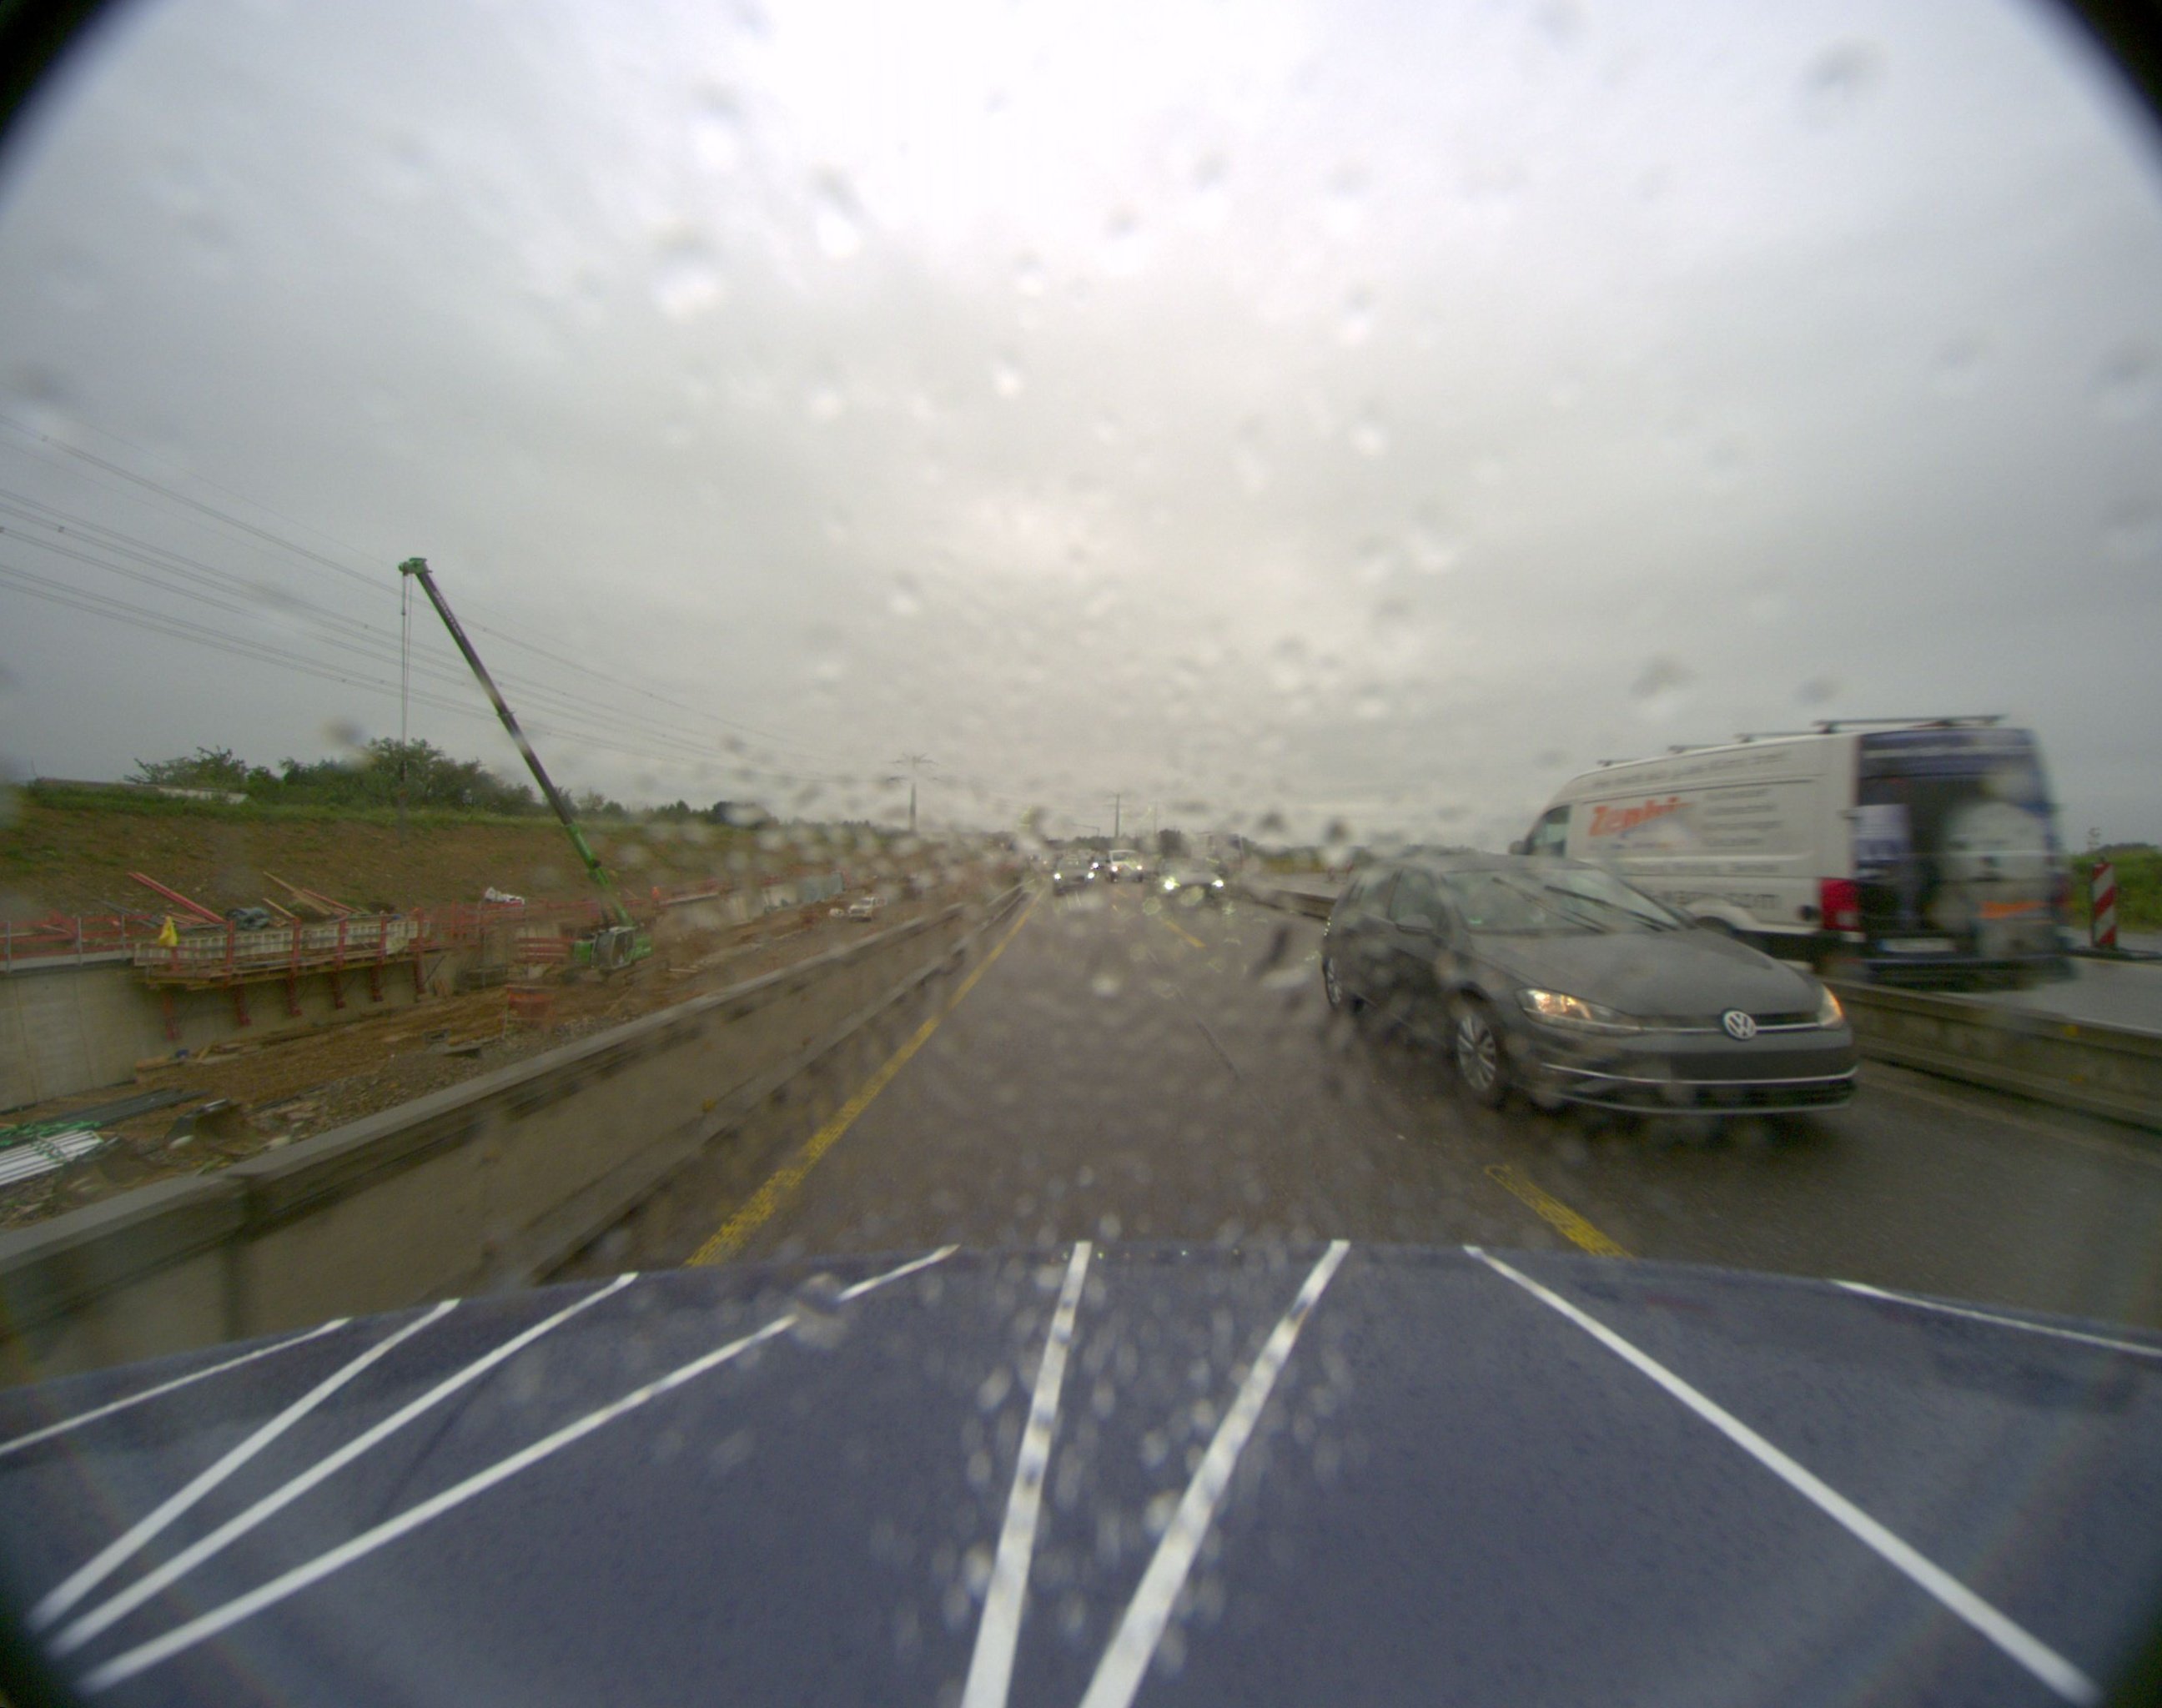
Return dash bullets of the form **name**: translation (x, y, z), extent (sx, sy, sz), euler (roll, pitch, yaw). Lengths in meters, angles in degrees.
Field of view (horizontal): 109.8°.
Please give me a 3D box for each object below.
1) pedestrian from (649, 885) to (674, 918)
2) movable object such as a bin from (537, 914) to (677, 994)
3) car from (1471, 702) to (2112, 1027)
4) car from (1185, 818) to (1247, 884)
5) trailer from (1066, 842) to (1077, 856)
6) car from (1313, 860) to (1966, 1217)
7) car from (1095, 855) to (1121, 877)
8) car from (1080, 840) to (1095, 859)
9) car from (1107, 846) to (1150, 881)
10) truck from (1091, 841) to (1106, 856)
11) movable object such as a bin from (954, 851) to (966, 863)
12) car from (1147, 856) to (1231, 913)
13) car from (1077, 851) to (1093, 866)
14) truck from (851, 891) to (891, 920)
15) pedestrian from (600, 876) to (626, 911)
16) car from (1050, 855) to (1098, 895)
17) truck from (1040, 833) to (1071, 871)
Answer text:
- **pedestrian**: translation (-30.512, 3.441, 55.251), extent (0.917, 2.219, 1.006), euler (-7, 2, 3)
- **movable object such as a bin**: translation (-23.373, 4.867, 37.832), extent (3.802, 2.790, 4.849), euler (-1, 6, -2)
- **car**: translation (7.142, 0.093, 8.978), extent (2.029, 2.534, 5.958), euler (-1, 0, 1)
- **car**: translation (6.765, -0.153, 38.658), extent (1.999, 2.995, 5.779), euler (-3, 0, 0)
- **trailer**: translation (-3.059, -1.645, 245.733), extent (2.794, 4.176, 13.668), euler (-1, 0, -4)
- **car**: translation (3.058, 0.826, 5.352), extent (1.653, 1.414, 4.080), euler (-2, 1, 1)
- **car**: translation (2.155, 0.943, 61.770), extent (1.800, 1.521, 4.066), euler (-3, 1, -1)
- **car**: translation (1.011, -0.748, 125.177), extent (1.999, 3.028, 7.169), euler (-3, 0, -2)
- **car**: translation (2.788, 0.495, 45.455), extent (2.161, 1.848, 5.178), euler (-3, 1, 0)
- **truck**: translation (3.414, -1.040, 148.771), extent (2.365, 2.877, 6.544), euler (0, 1, -4)
- **movable object such as a bin**: translation (-29.978, 0.751, 188.310), extent (2.252, 2.703, 3.998), euler (-3, 1, -4)
- **car**: translation (3.103, 0.822, 22.646), extent (1.800, 1.389, 4.268), euler (-3, 1, -1)
- **car**: translation (0.534, 0.540, 99.050), extent (1.800, 1.851, 4.285), euler (-3, 1, -2)
- **truck**: translation (-17.453, 4.242, 63.343), extent (1.767, 1.860, 5.785), euler (0, 1, -1)
- **pedestrian**: translation (-32.023, 2.707, 51.991), extent (0.918, 2.233, 1.005), euler (-7, 2, -5)
- **car**: translation (-0.242, 0.842, 32.885), extent (1.799, 1.524, 4.308), euler (-2, 0, 2)
- **truck**: translation (-2.634, -0.251, 79.805), extent (2.837, 3.617, 9.117), euler (-3, 1, -2)
